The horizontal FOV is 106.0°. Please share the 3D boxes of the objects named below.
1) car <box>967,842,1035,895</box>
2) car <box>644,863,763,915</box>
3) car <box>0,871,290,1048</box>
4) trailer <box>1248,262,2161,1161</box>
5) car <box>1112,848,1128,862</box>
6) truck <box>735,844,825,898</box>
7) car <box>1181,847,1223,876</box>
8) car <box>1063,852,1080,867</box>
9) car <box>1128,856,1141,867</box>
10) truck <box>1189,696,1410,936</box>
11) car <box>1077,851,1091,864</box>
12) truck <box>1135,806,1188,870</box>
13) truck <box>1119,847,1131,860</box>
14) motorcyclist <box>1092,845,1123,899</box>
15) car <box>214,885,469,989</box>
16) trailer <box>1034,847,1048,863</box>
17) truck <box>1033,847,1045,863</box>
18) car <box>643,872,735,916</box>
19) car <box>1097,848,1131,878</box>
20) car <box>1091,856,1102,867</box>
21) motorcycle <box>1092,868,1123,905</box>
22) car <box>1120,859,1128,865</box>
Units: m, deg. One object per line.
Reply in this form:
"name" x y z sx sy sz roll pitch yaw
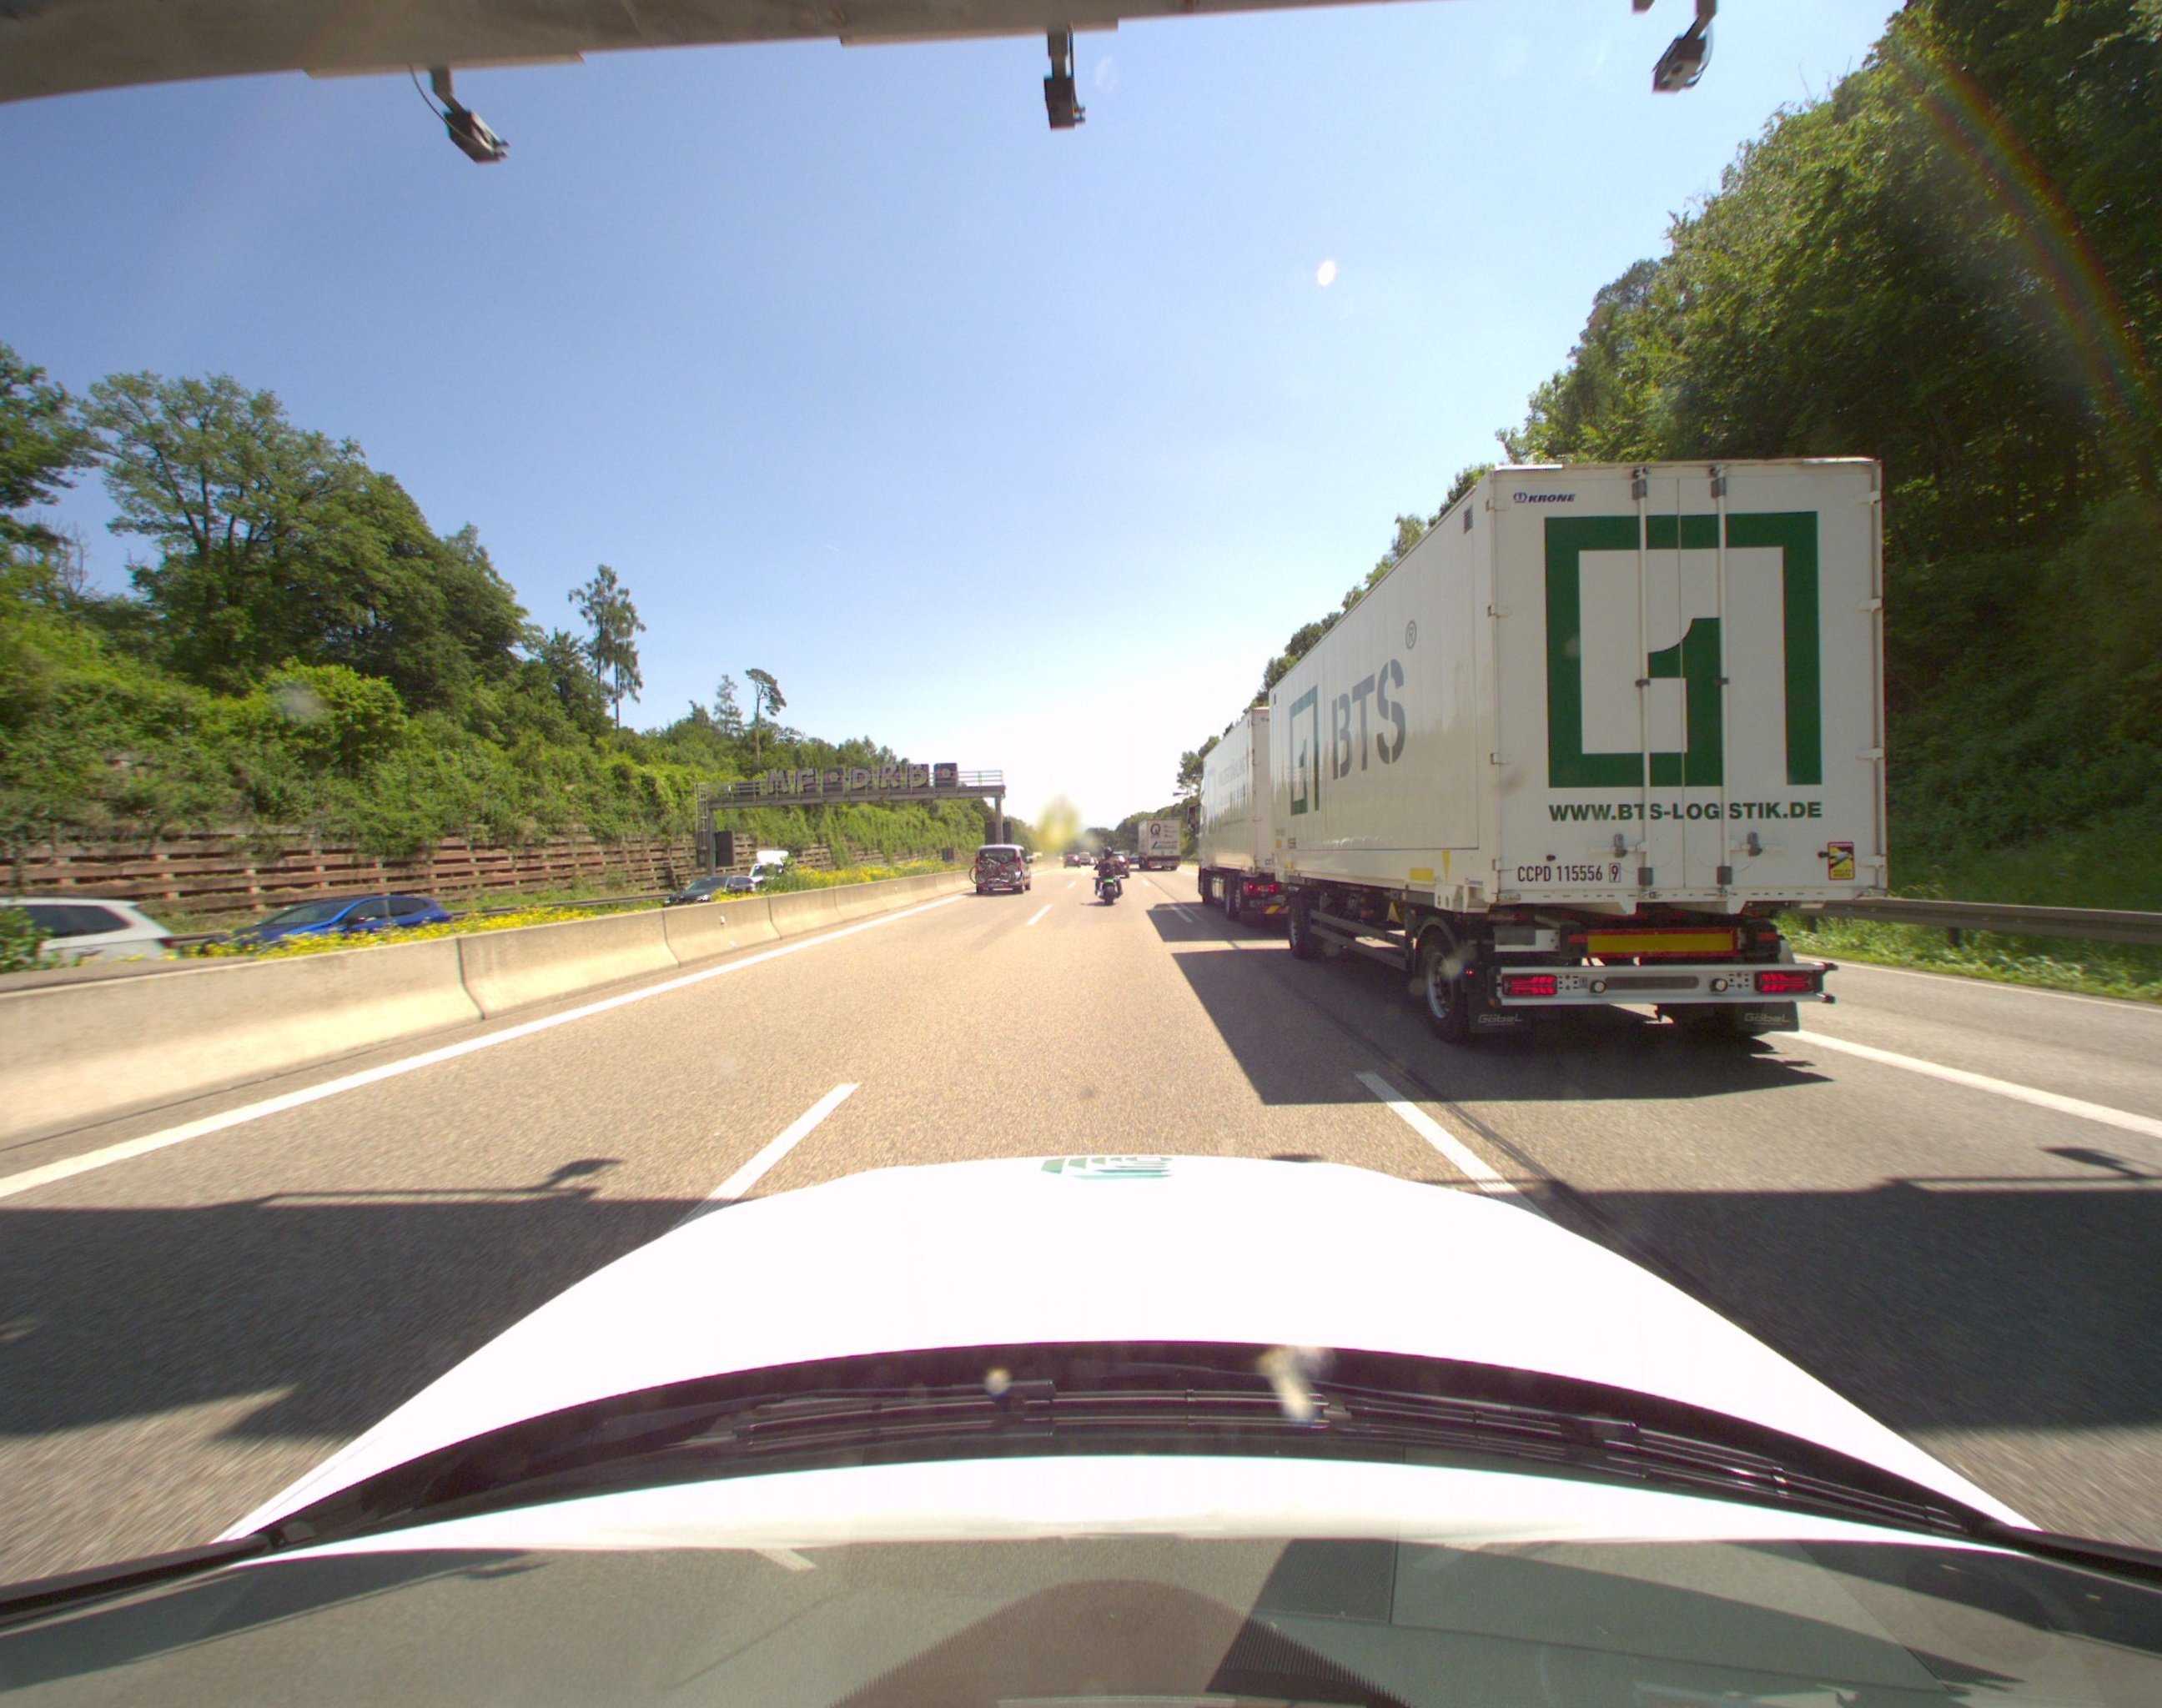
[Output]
"car" -2.960 0.519 31.393 1.891 1.848 5.485 -1 0 2
"car" -14.070 1.233 30.723 1.995 1.604 4.864 -3 0 2
"car" -11.204 1.083 8.434 1.837 1.604 4.118 -3 0 2
"trailer" 4.070 -0.683 8.850 2.670 4.175 10.069 -1 0 2
"car" 4.528 0.079 95.213 1.824 1.558 4.121 -1 0 2
"truck" -18.431 0.945 50.416 2.570 2.992 7.065 -3 0 2
"car" 6.888 0.385 46.652 1.838 1.557 4.394 -1 0 2
"car" -1.029 0.540 89.520 1.751 1.543 4.397 -1 0 2
"car" 8.023 1.070 121.714 1.824 1.526 4.029 -1 0 2
"truck" 4.444 -0.666 19.264 2.670 4.059 10.631 -1 0 2
"car" 0.449 0.538 118.557 1.824 1.810 4.121 -1 0 2
"truck" 6.537 -1.212 69.341 3.370 4.718 17.717 0 0 2
"truck" 12.167 -0.183 224.961 3.056 3.346 9.656 0 0 2
"motorcyclist" 0.773 0.523 23.738 0.852 1.515 0.914 -1 -1 2
"car" -13.944 1.485 15.661 1.510 1.535 3.551 -3 0 2
"trailer" -10.527 0.179 215.687 2.670 4.015 14.193 -2 0 2
"truck" -10.744 0.190 208.508 2.670 4.030 5.933 -2 0 2
"car" -17.293 1.708 36.220 1.793 1.604 4.373 -3 0 2
"car" 1.851 0.471 46.572 1.838 1.557 4.441 -1 0 2
"car" 2.585 1.301 138.678 1.824 1.810 4.121 -1 0 2
"motorcycle" 0.791 0.924 23.915 0.859 0.982 2.132 -1 0 3
"car" 10.715 1.945 201.194 1.824 1.526 4.029 -1 0 2
